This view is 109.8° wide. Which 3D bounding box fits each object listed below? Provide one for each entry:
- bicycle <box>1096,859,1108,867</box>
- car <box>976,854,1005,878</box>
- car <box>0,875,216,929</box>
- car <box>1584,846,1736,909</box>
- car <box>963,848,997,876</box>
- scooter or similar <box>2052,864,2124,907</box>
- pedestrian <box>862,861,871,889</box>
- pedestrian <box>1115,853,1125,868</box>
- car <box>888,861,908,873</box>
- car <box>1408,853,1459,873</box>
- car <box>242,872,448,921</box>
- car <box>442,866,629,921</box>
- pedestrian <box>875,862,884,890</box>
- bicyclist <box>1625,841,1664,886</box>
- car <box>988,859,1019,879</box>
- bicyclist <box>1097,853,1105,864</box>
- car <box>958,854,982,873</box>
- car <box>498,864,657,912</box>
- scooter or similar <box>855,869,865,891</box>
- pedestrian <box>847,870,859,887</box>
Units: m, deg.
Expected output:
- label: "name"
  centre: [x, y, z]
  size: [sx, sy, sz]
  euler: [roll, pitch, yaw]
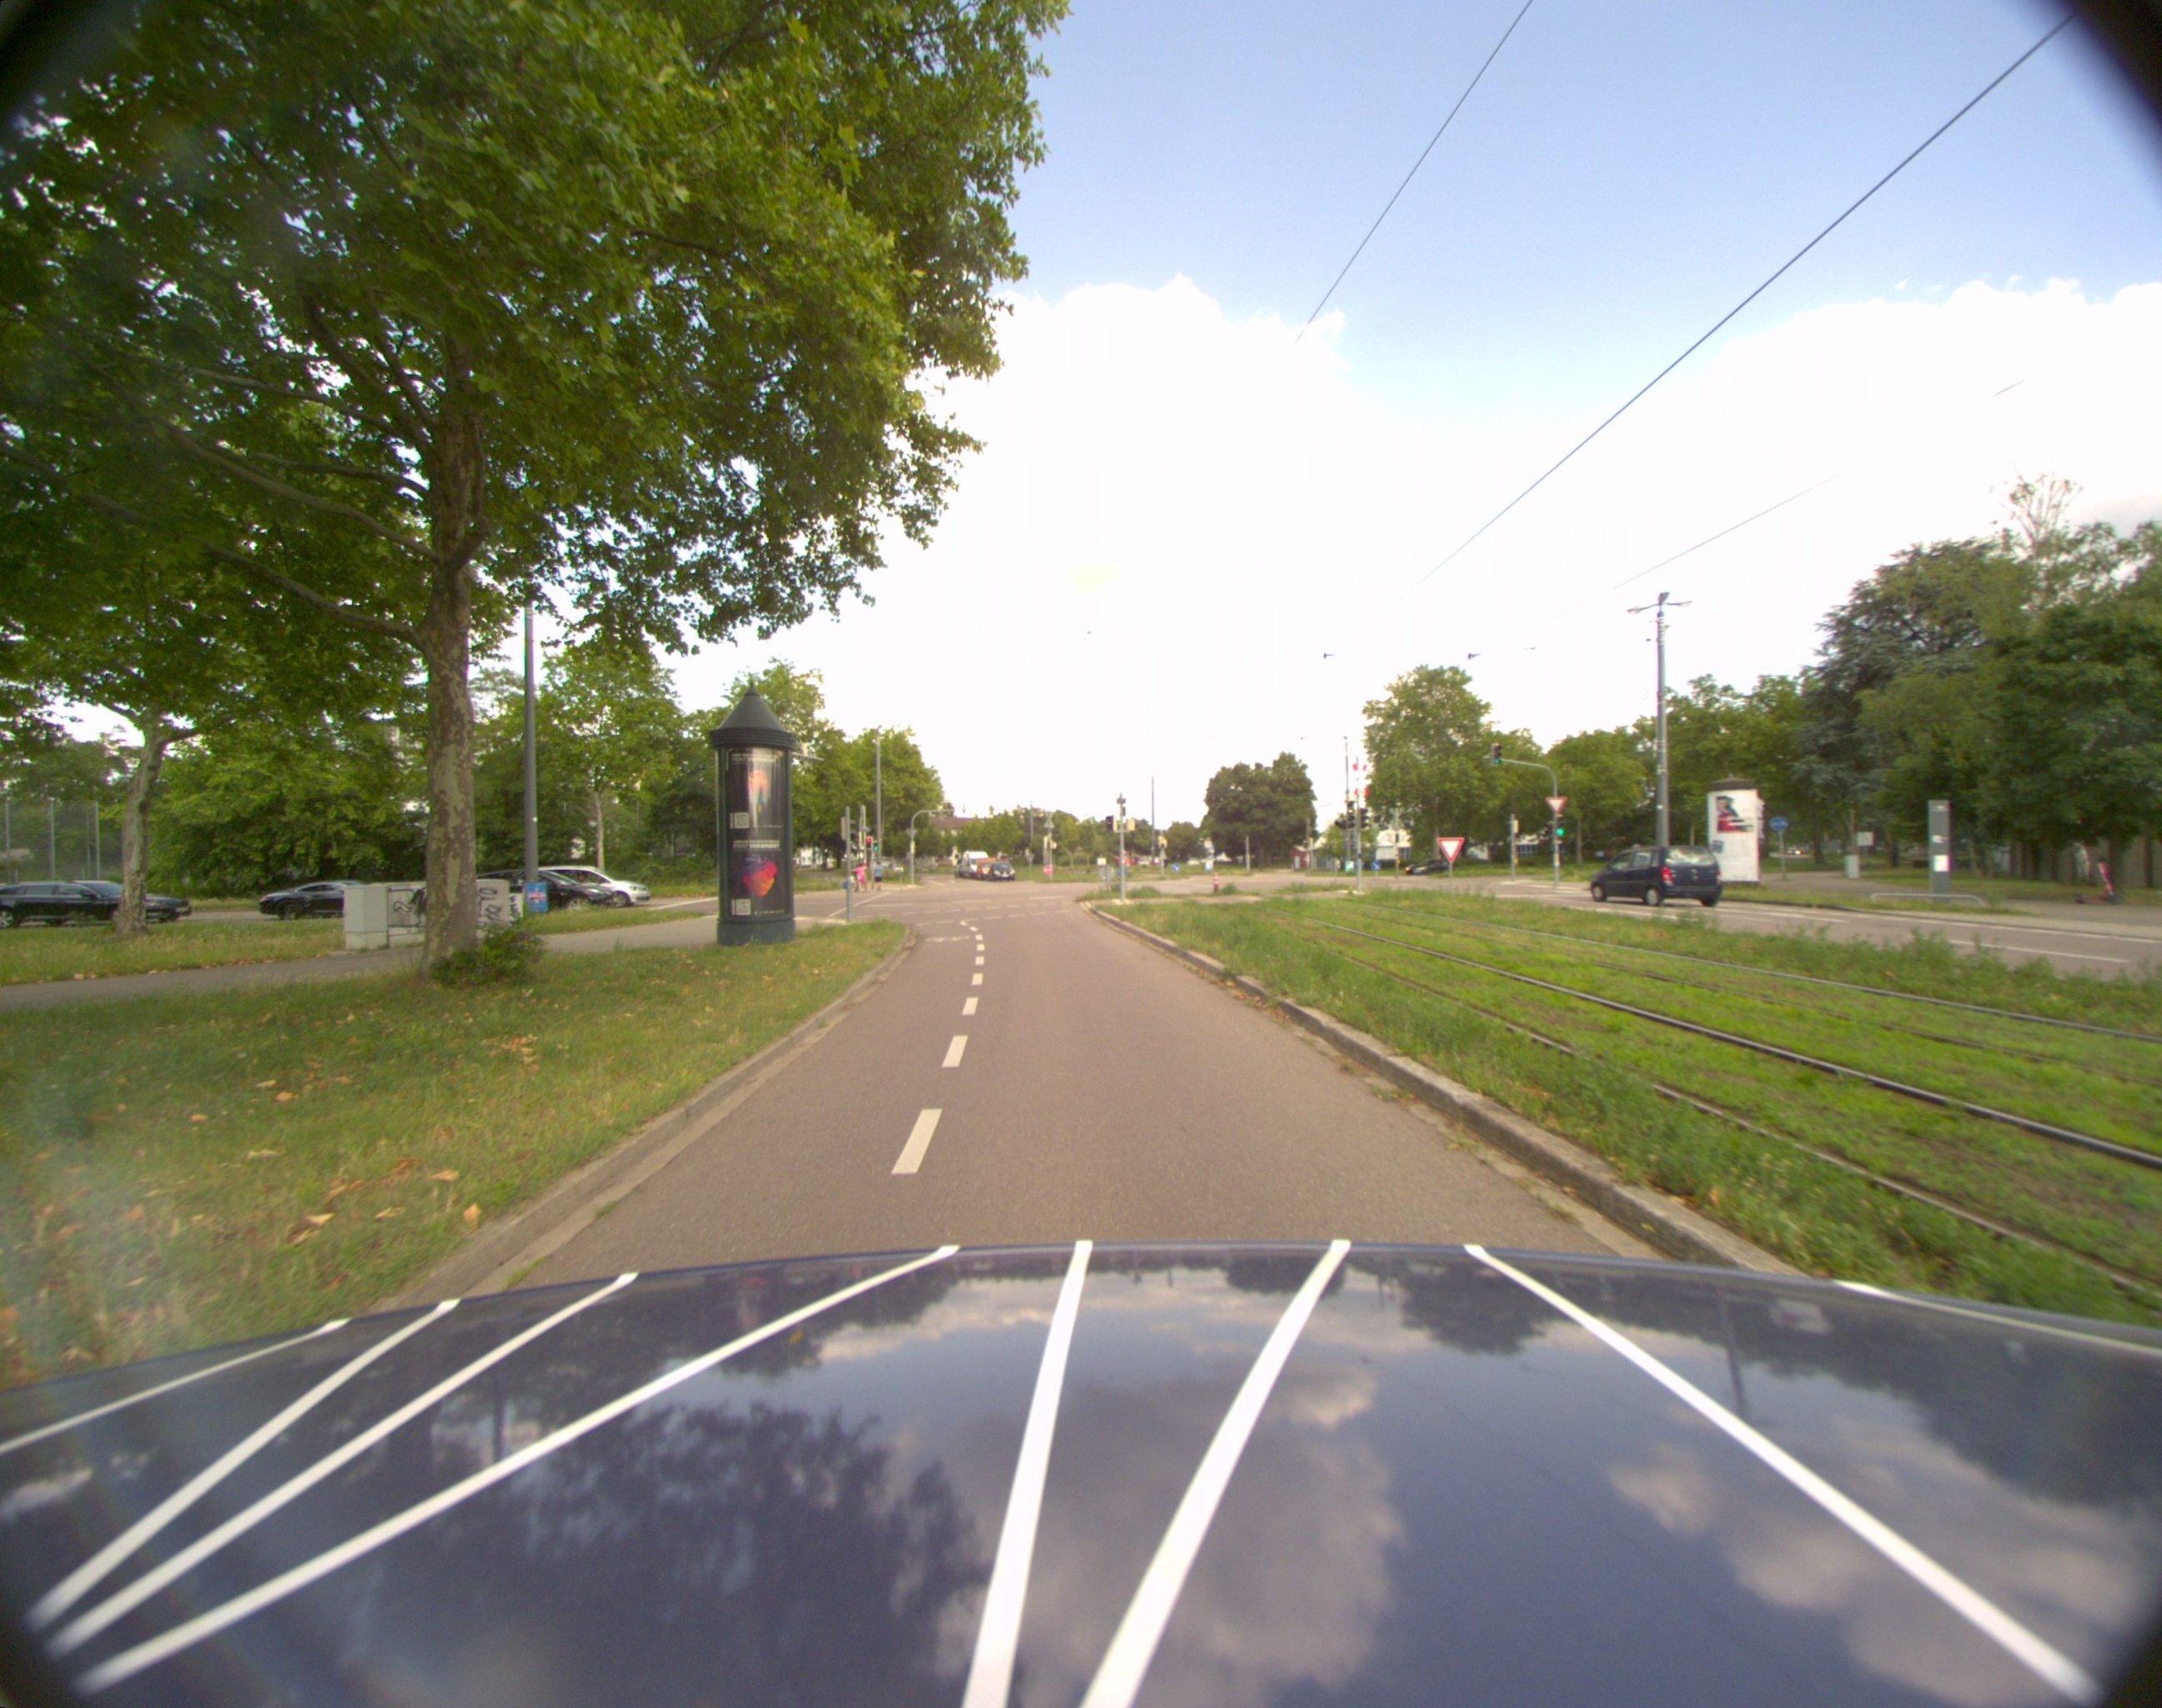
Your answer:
- label: "bicycle"
  centre: [2.813, 1.218, 102.985]
  size: [0.805, 1.053, 2.066]
  euler: [-1, -1, -22]
- label: "car"
  centre: [-8.031, 1.027, 67.044]
  size: [1.797, 1.924, 4.362]
  euler: [-2, 0, -16]
- label: "car"
  centre: [-32.275, 1.547, 24.966]
  size: [4.690, 1.504, 1.997]
  euler: [-1, 1, -18]
- label: "car"
  centre: [16.238, 0.586, 21.553]
  size: [1.782, 1.617, 3.496]
  euler: [-1, 1, 3]
- label: "car"
  centre: [-9.814, 0.766, 73.332]
  size: [2.242, 2.492, 5.717]
  euler: [-2, 0, -17]
- label: "scooter or similar"
  centre: [25.753, 0.792, 19.446]
  size: [0.427, 1.027, 1.224]
  euler: [-1, 0, 13]
- label: "pedestrian"
  centre: [-11.495, 1.120, 40.669]
  size: [0.420, 1.499, 0.392]
  euler: [-1, 1, -19]
- label: "pedestrian"
  centre: [4.797, 0.759, 93.889]
  size: [0.909, 1.857, 1.001]
  euler: [-1, 0, -20]
- label: "car"
  centre: [-26.324, 1.801, 109.038]
  size: [1.871, 1.635, 4.225]
  euler: [-2, 0, -26]
- label: "car"
  centre: [28.003, 0.710, 60.391]
  size: [3.863, 1.515, 1.695]
  euler: [-1, 1, -29]
- label: "car"
  centre: [-25.640, 1.441, 26.710]
  size: [4.753, 1.461, 1.997]
  euler: [-1, 1, -18]
- label: "car"
  centre: [-18.148, 1.264, 25.571]
  size: [4.690, 1.601, 1.997]
  euler: [-1, 1, -17]
- label: "pedestrian"
  centre: [-10.837, 1.168, 40.845]
  size: [0.420, 1.499, 0.450]
  euler: [-1, 1, -19]
- label: "bicyclist"
  centre: [18.490, 0.294, 24.941]
  size: [0.624, 1.449, 0.929]
  euler: [-1, 1, 5]
- label: "car"
  centre: [-6.277, 1.170, 61.211]
  size: [1.797, 1.530, 3.994]
  euler: [-2, 0, -16]
- label: "bicyclist"
  centre: [2.731, 0.628, 103.172]
  size: [0.805, 1.461, 0.831]
  euler: [-1, -1, -22]
- label: "car"
  centre: [-11.533, 0.975, 78.796]
  size: [1.797, 1.924, 4.362]
  euler: [-2, 0, -17]
- label: "car"
  centre: [-19.139, 1.254, 29.137]
  size: [4.690, 1.601, 1.997]
  euler: [-1, 1, -18]
- label: "scooter or similar"
  centre: [-11.780, 1.382, 40.424]
  size: [0.396, 1.154, 1.114]
  euler: [-1, 0, -21]
- label: "pedestrian"
  centre: [-14.290, 1.527, 47.644]
  size: [0.723, 1.028, 0.900]
  euler: [-1, 0, -17]
